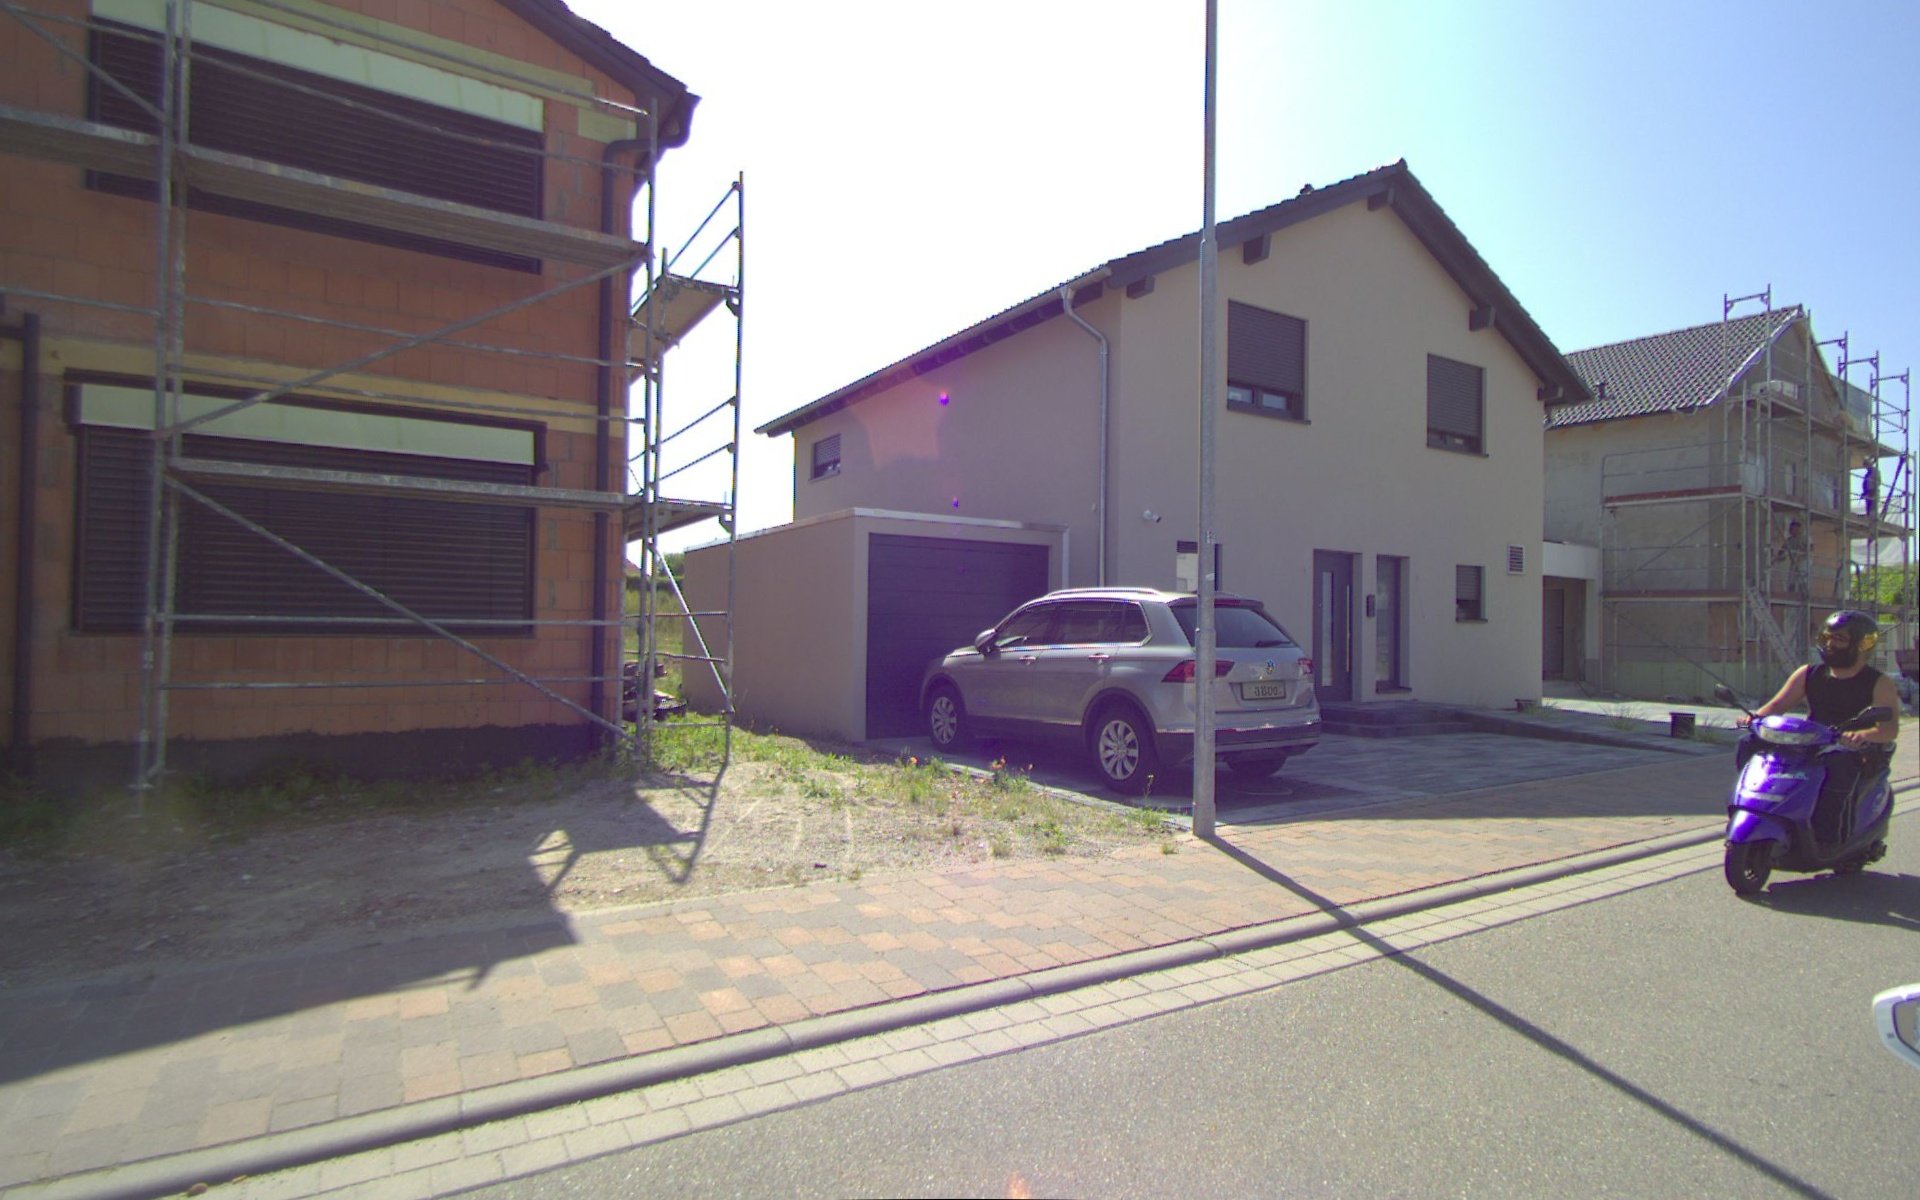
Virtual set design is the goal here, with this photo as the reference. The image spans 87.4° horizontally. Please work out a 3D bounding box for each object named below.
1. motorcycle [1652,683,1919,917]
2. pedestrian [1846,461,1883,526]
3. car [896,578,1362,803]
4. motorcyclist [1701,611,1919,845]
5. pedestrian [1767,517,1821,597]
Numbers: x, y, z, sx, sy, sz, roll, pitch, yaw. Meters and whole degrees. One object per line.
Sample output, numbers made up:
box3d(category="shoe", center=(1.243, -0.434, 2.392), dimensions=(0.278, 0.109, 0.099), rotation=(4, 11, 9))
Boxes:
box3d(category="motorcycle", center=(5.294, 1.082, 6.049), dimensions=(2.408, 1.049, 0.951), rotation=(1, -1, -31))
box3d(category="pedestrian", center=(23.118, -2.706, 25.685), dimensions=(0.553, 1.519, 0.747), rotation=(0, -3, 31))
box3d(category="car", center=(1.339, 0.727, 9.695), dimensions=(1.979, 1.633, 4.398), rotation=(1, -2, -34))
box3d(category="motorcyclist", center=(5.098, 0.690, 5.928), dimensions=(0.794, 1.239, 0.920), rotation=(0, -1, -30))
box3d(category="pedestrian", center=(18.356, -0.944, 22.130), dimensions=(0.733, 1.701, 0.579), rotation=(1, -3, 14))
